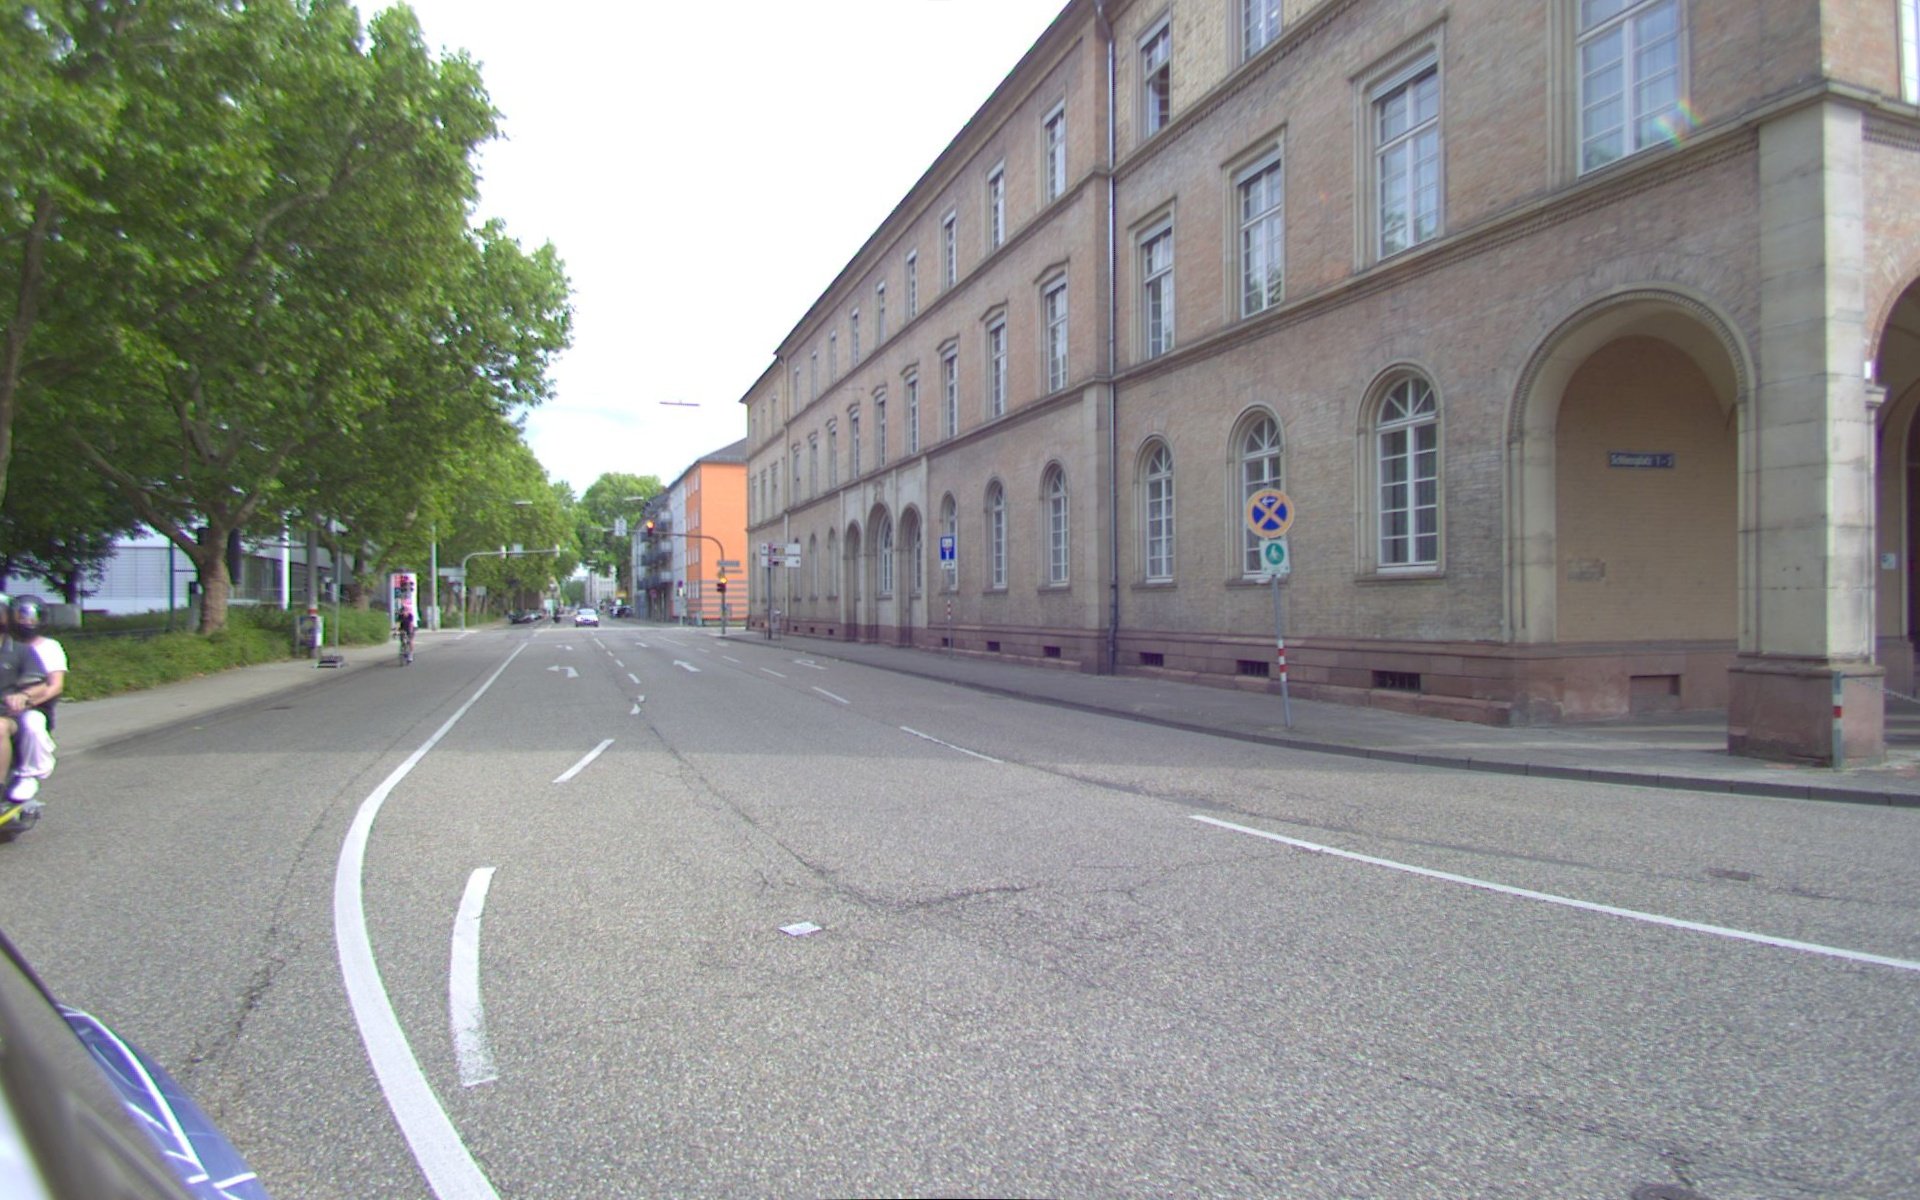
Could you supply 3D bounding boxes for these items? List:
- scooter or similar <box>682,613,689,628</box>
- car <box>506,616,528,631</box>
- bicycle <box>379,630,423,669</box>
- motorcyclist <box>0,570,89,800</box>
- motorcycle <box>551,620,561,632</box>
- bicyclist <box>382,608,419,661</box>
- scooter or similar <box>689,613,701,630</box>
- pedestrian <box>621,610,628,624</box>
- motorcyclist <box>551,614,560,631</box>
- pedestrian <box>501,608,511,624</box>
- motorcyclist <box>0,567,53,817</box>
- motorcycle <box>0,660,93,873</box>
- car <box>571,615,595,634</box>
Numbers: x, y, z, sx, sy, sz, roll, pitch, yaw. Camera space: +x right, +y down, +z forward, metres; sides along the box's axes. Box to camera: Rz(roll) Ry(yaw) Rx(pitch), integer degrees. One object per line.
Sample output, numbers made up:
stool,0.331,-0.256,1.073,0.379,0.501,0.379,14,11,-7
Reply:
scooter or similar,-21.846,1.611,80.422,0.363,1.132,1.358,-2,0,-21
car,-50.243,2.618,114.868,1.966,1.553,4.285,-2,0,-20
bicycle,-15.966,1.391,28.960,0.758,1.022,2.415,-2,0,-21
motorcyclist,-6.322,0.551,6.621,0.768,1.438,0.691,-2,-1,-25
motorcycle,-42.224,2.719,105.731,0.768,1.187,1.999,-2,-1,-25
bicyclist,-16.012,0.983,28.982,0.771,1.458,0.917,-2,0,-21
scooter or similar,-19.369,1.568,73.908,0.324,1.166,1.357,-2,0,-35
pedestrian,-48.650,2.419,146.725,0.829,2.029,0.877,-2,0,-18
motorcyclist,-42.253,2.344,105.762,0.768,1.673,1.116,-2,-1,-25
pedestrian,-58.913,2.137,131.310,0.987,2.029,1.001,-2,0,-20
motorcyclist,-6.024,0.548,5.991,0.768,1.438,0.766,-2,-1,-25
motorcycle,-6.094,1.000,6.115,0.768,1.187,1.999,-2,-1,-25
car,-29.751,1.889,79.848,1.645,1.449,3.832,0,-1,-22
